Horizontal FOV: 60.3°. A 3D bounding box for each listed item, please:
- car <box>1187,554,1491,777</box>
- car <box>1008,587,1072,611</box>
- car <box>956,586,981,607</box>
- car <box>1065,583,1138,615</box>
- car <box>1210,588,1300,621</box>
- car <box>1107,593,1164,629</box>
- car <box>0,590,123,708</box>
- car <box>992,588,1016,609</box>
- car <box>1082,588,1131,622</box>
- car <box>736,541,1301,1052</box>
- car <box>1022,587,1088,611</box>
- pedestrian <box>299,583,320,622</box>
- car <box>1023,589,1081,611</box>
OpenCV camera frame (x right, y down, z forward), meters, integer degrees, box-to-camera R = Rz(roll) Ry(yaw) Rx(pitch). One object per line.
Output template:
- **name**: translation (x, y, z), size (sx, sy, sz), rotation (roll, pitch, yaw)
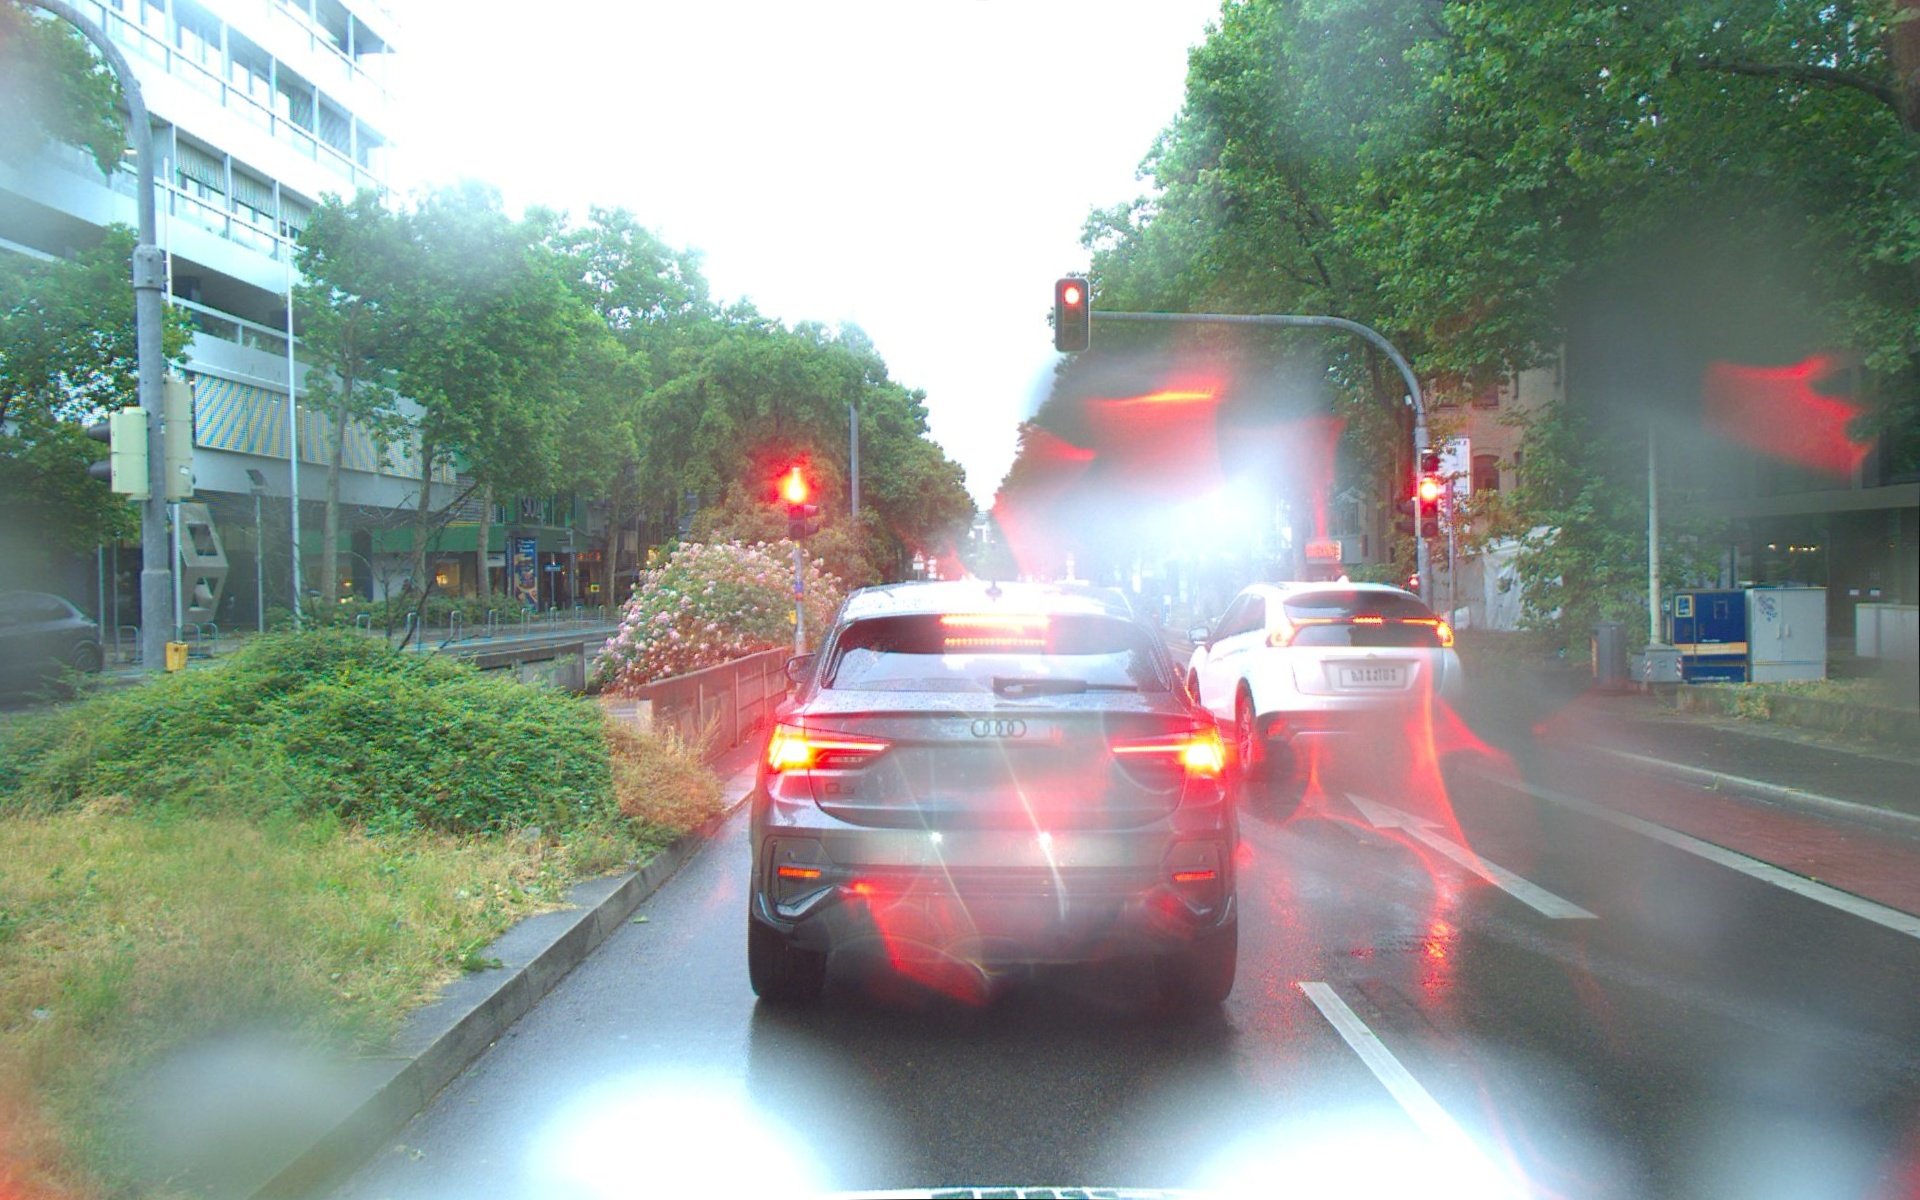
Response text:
- **car**: translation (3.271, 0.532, 15.060), size (1.839, 1.727, 4.000), rotation (1, 0, 0)
- **car**: translation (6.184, -0.074, 128.552), size (4.549, 1.736, 1.997), rotation (1, -1, 28)
- **car**: translation (0.678, -0.240, 132.433), size (1.857, 1.627, 3.938), rotation (1, 0, -1)
- **car**: translation (9.344, -0.092, 109.655), size (4.519, 2.049, 1.959), rotation (1, -1, 39)
- **car**: translation (10.493, 0.156, 58.826), size (2.831, 1.093, 1.452), rotation (1, -1, 31)
- **car**: translation (7.244, 0.445, 68.691), size (1.835, 1.446, 4.611), rotation (1, 0, 0)
- **car**: translation (-14.024, 0.660, 23.226), size (1.869, 1.612, 4.748), rotation (1, 0, 4)
- **car**: translation (3.731, -0.125, 140.783), size (1.952, 1.680, 4.000), rotation (1, 0, 0)
- **car**: translation (6.998, 0.245, 79.455), size (1.693, 1.599, 4.070), rotation (1, 0, -4)
- **car**: translation (0.161, 0.623, 7.300), size (1.812, 1.630, 3.999), rotation (0, 0, -1)
- **car**: translation (7.083, -0.088, 123.410), size (4.549, 1.736, 1.997), rotation (1, -1, 28)
- **pedestrian**: translation (-23.923, 0.089, 60.824), size (0.626, 1.404, 0.473), rotation (1, -1, -12)
- **car**: translation (7.859, 0.006, 140.924), size (4.549, 1.736, 1.997), rotation (1, -1, 28)
